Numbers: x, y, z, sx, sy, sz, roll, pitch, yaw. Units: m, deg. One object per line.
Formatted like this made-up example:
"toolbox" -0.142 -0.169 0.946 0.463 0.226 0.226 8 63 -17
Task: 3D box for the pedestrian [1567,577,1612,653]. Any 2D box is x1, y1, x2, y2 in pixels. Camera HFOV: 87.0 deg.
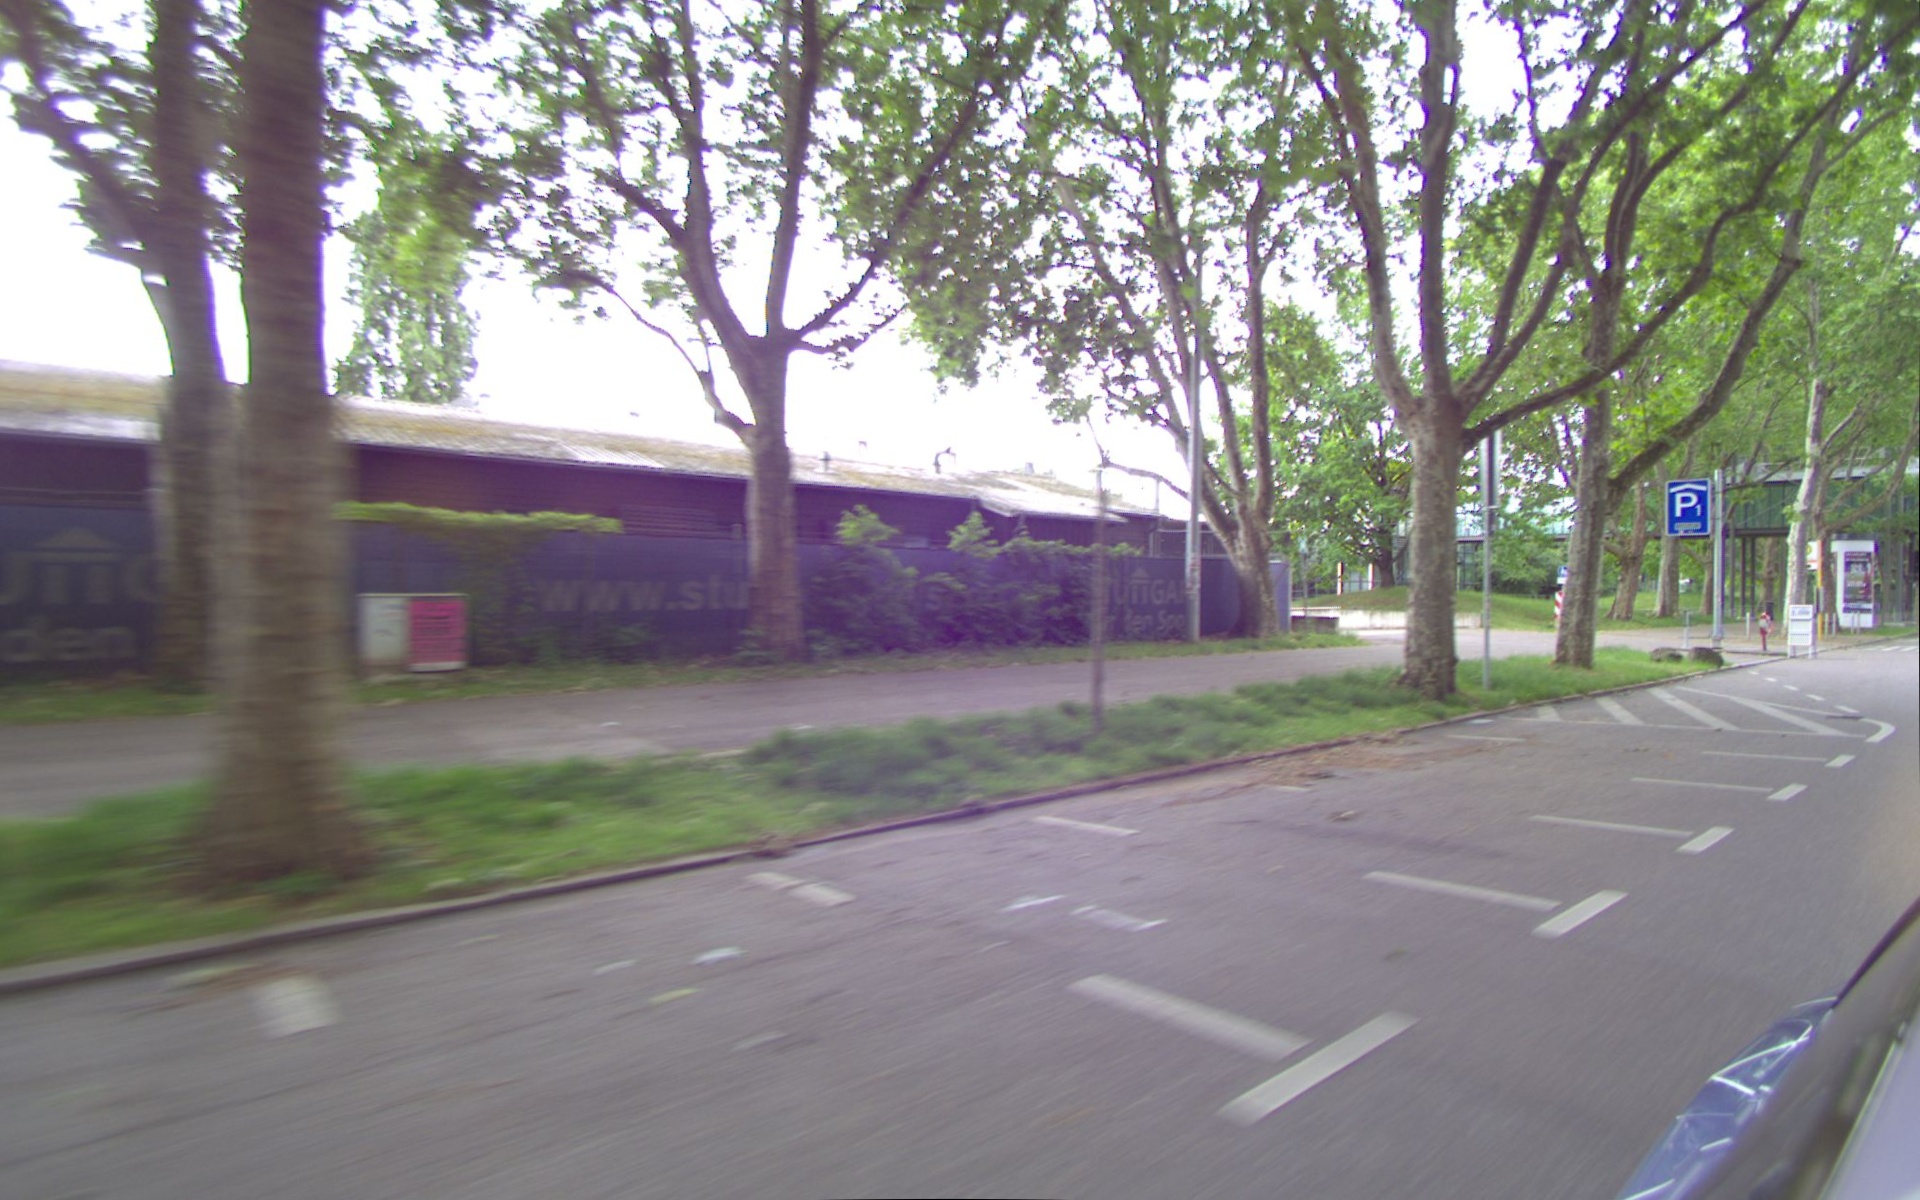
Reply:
"pedestrian" 17.228 0.392 27.698 0.864 2.039 0.712 0 -1 -32
